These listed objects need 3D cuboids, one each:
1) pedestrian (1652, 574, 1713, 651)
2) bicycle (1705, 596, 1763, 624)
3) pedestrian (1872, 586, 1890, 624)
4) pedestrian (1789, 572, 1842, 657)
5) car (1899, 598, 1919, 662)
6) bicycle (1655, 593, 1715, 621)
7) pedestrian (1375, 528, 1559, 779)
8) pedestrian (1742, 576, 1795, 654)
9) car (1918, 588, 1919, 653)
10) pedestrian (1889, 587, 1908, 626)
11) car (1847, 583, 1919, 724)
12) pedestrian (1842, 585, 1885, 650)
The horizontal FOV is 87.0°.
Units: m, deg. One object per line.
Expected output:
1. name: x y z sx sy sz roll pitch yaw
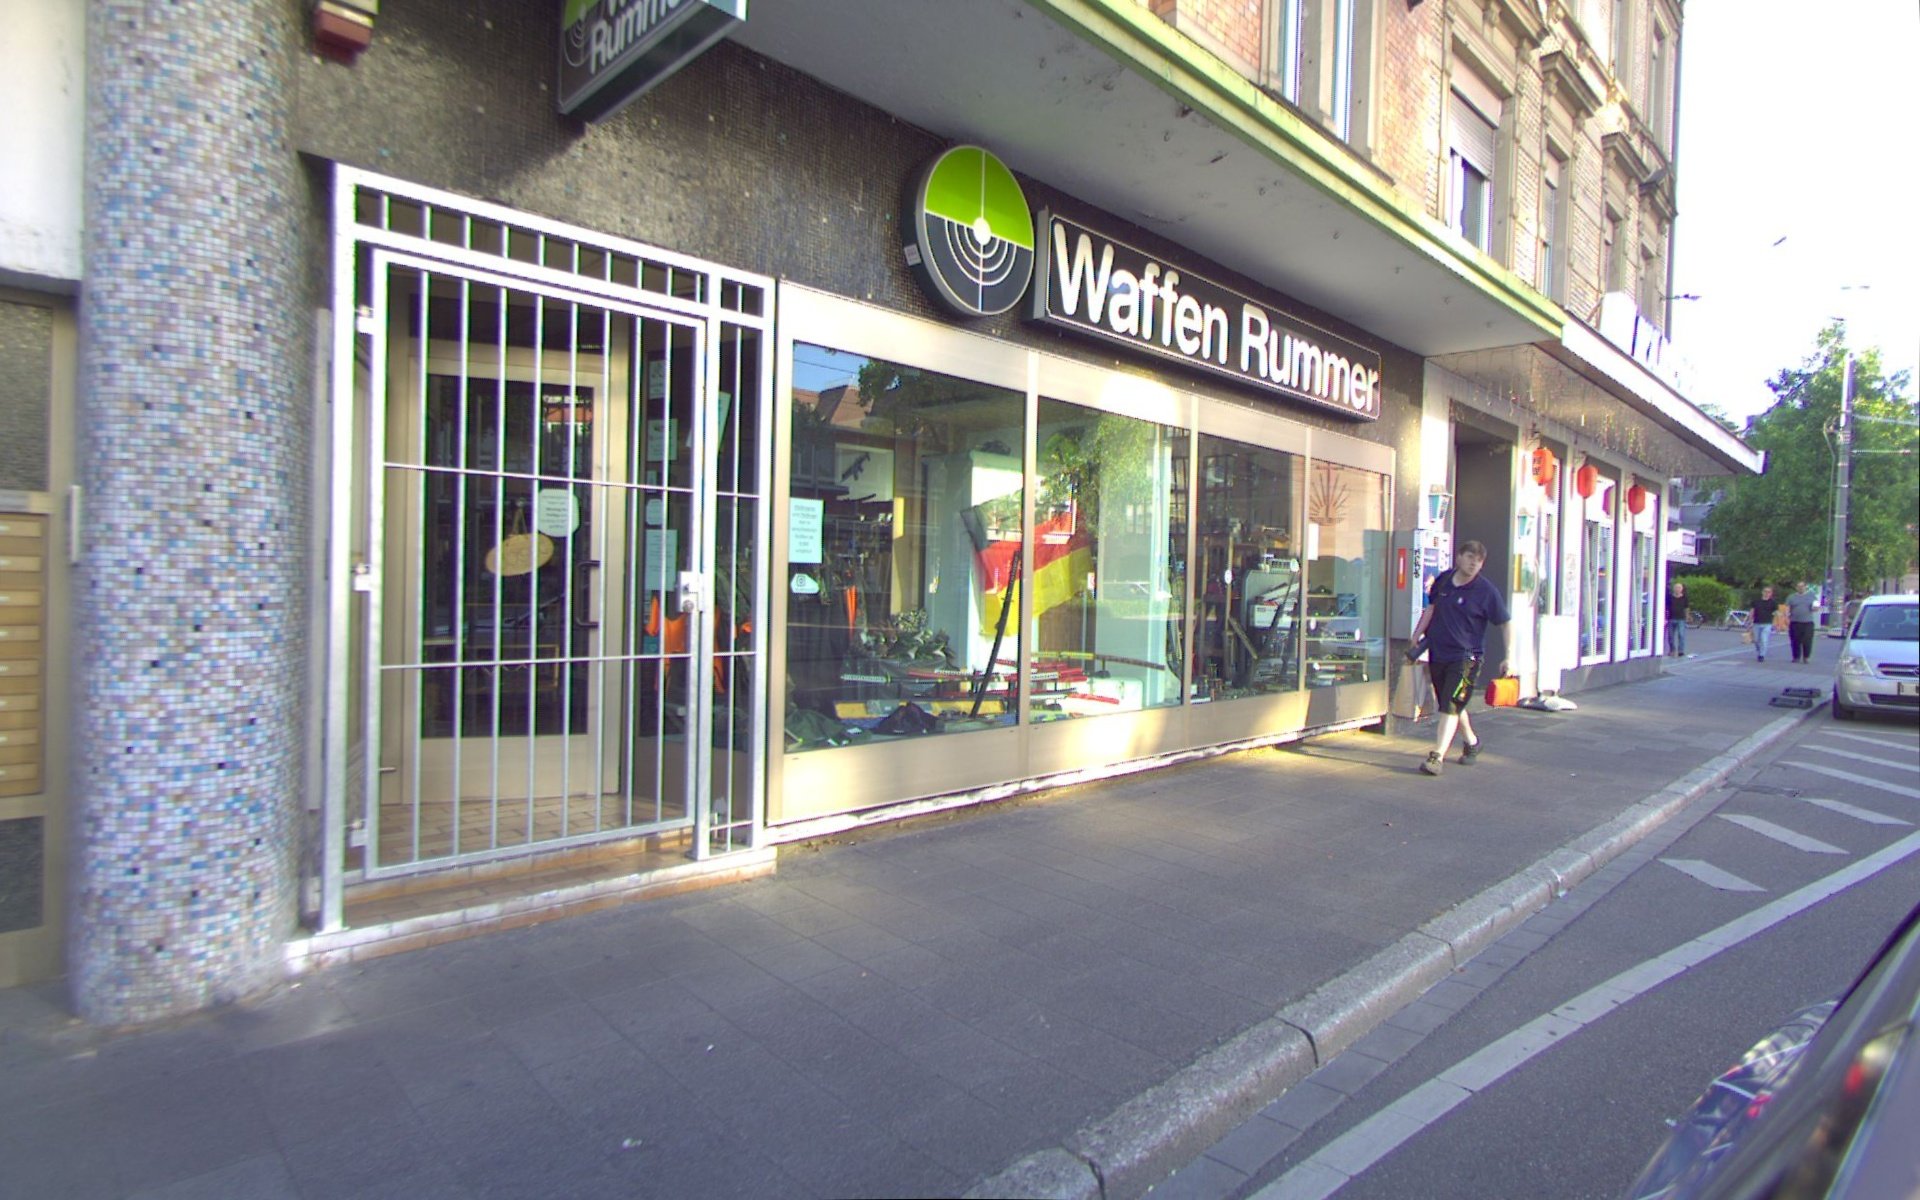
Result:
1. pedestrian: 17.099 0.283 23.943 1.016 1.734 0.901 0 4 -44
2. bicycle: 32.887 0.417 43.009 1.882 1.109 0.462 3 2 45
3. pedestrian: 42.667 0.232 46.893 0.430 1.734 0.493 0 4 -44
4. pedestrian: 20.043 0.319 23.702 1.016 1.922 0.794 0 2 -45
5. car: 24.303 0.709 24.906 1.638 1.511 3.734 -1 0 44
6. bicycle: 31.193 0.289 43.544 2.011 1.109 0.628 4 2 40
7. pedestrian: 4.007 0.362 7.997 1.037 1.814 0.947 0 2 -44
8. pedestrian: 19.145 0.342 23.962 1.016 1.778 0.811 0 2 -45
9. car: 28.253 0.543 28.421 4.402 1.779 1.821 -1 1 -45
10. pedestrian: 43.037 0.294 46.417 0.430 1.734 0.493 0 4 -44
11. car: 12.621 0.618 13.003 1.638 1.635 3.882 1 1 44
12. pedestrian: 25.099 0.470 28.108 0.930 1.759 0.788 0 1 -45
